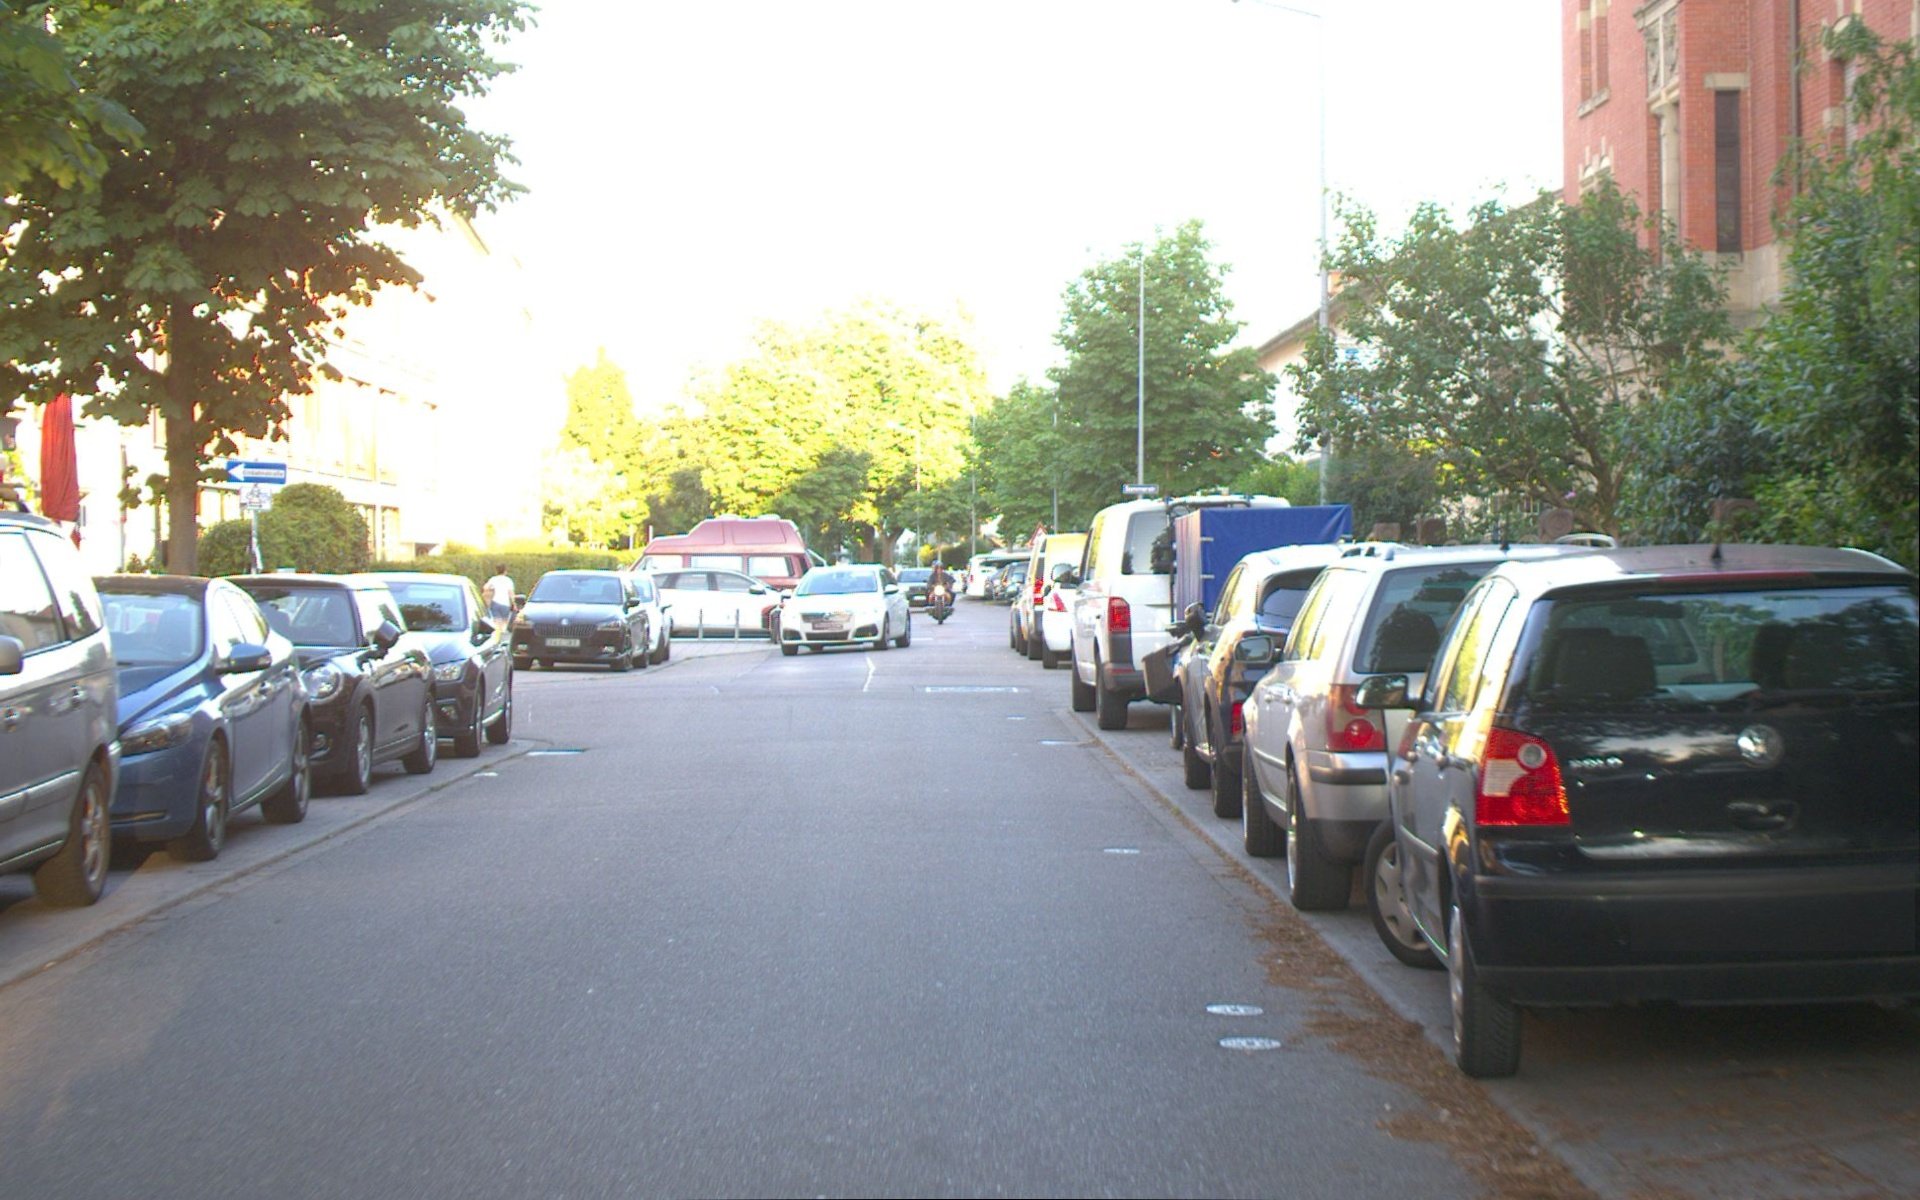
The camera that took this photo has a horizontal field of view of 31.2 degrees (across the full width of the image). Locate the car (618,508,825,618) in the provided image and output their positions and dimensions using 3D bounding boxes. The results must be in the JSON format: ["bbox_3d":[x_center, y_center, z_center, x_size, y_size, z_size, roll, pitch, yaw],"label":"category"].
[{"bbox_3d":[-5.079,-0.798,73.631,4.349,2.310,1.746,0,1,-2],"label":"car"}]

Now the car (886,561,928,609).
[{"bbox_3d":[-1.828,-0.525,119.300,1.432,1.590,3.483,0,1,-1],"label":"car"}]

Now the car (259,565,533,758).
[{"bbox_3d":[-4.557,0.453,28.237,1.599,1.436,3.838,0,1,0],"label":"car"}]

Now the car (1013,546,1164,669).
[{"bbox_3d":[1.712,0.082,46.768,1.686,1.600,3.940,0,0,-3],"label":"car"}]

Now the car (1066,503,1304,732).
[{"bbox_3d":[1.965,0.128,31.061,1.680,1.934,3.881,0,0,-3],"label":"car"}]

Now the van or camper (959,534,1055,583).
[{"bbox_3d":[2.662,-2.368,195.792,5.262,2.782,1.552,0,1,-11],"label":"van or camper"}]

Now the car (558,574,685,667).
[{"bbox_3d":[-5.521,0.311,56.397,1.716,1.436,3.631,0,1,0],"label":"car"}]

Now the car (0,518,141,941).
[{"bbox_3d":[-4.472,0.489,12.999,1.715,1.590,4.519,0,1,-1],"label":"car"}]

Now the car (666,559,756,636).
[{"bbox_3d":[-4.901,-0.064,67.852,1.715,1.436,3.631,0,1,-4],"label":"car"}]

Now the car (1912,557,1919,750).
[{"bbox_3d":[2.275,0.638,2.847,1.686,1.436,4.210,-2,1,-1],"label":"car"}]

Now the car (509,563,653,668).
[{"bbox_3d":[-5.562,0.222,50.794,1.716,1.481,3.630,0,0,0],"label":"car"}]

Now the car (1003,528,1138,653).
[{"bbox_3d":[1.620,-0.149,51.759,1.686,1.805,3.940,0,0,-3],"label":"car"}]

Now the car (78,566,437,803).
[{"bbox_3d":[-4.654,0.511,23.242,1.715,1.436,3.631,0,1,-1],"label":"car"}]

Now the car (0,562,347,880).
[{"bbox_3d":[-4.437,0.548,18.202,1.715,1.460,3.987,0,1,-1],"label":"car"}]

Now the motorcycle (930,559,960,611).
[{"bbox_3d":[-0.411,-0.406,90.975,0.742,1.246,3.378,-1,2,-1],"label":"motorcycle"}]

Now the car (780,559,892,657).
[{"bbox_3d":[-2.088,0.114,58.701,1.813,1.590,3.483,0,1,-1],"label":"car"}]

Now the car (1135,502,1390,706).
[{"bbox_3d":[2.347,0.013,27.345,1.538,1.516,3.432,0,0,-3],"label":"car"}]

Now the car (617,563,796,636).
[{"bbox_3d":[-5.213,-0.017,70.810,3.618,1.456,1.607,0,1,-4],"label":"car"}]

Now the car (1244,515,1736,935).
[{"bbox_3d":[2.182,0.462,15.091,1.687,1.600,3.940,0,0,2],"label":"car"}]

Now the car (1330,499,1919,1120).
[{"bbox_3d":[2.142,0.525,10.853,1.687,1.600,3.939,0,0,3],"label":"car"}]

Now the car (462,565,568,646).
[{"bbox_3d":[-8.254,0.082,64.042,1.715,1.436,3.631,-1,1,-4],"label":"car"}]

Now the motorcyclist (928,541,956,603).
[{"bbox_3d":[-0.468,-0.737,90.602,0.702,1.625,0.822,-1,1,-1],"label":"motorcyclist"}]

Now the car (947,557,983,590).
[{"bbox_3d":[0.249,-1.328,170.164,1.715,1.590,3.483,0,1,-1],"label":"car"}]
